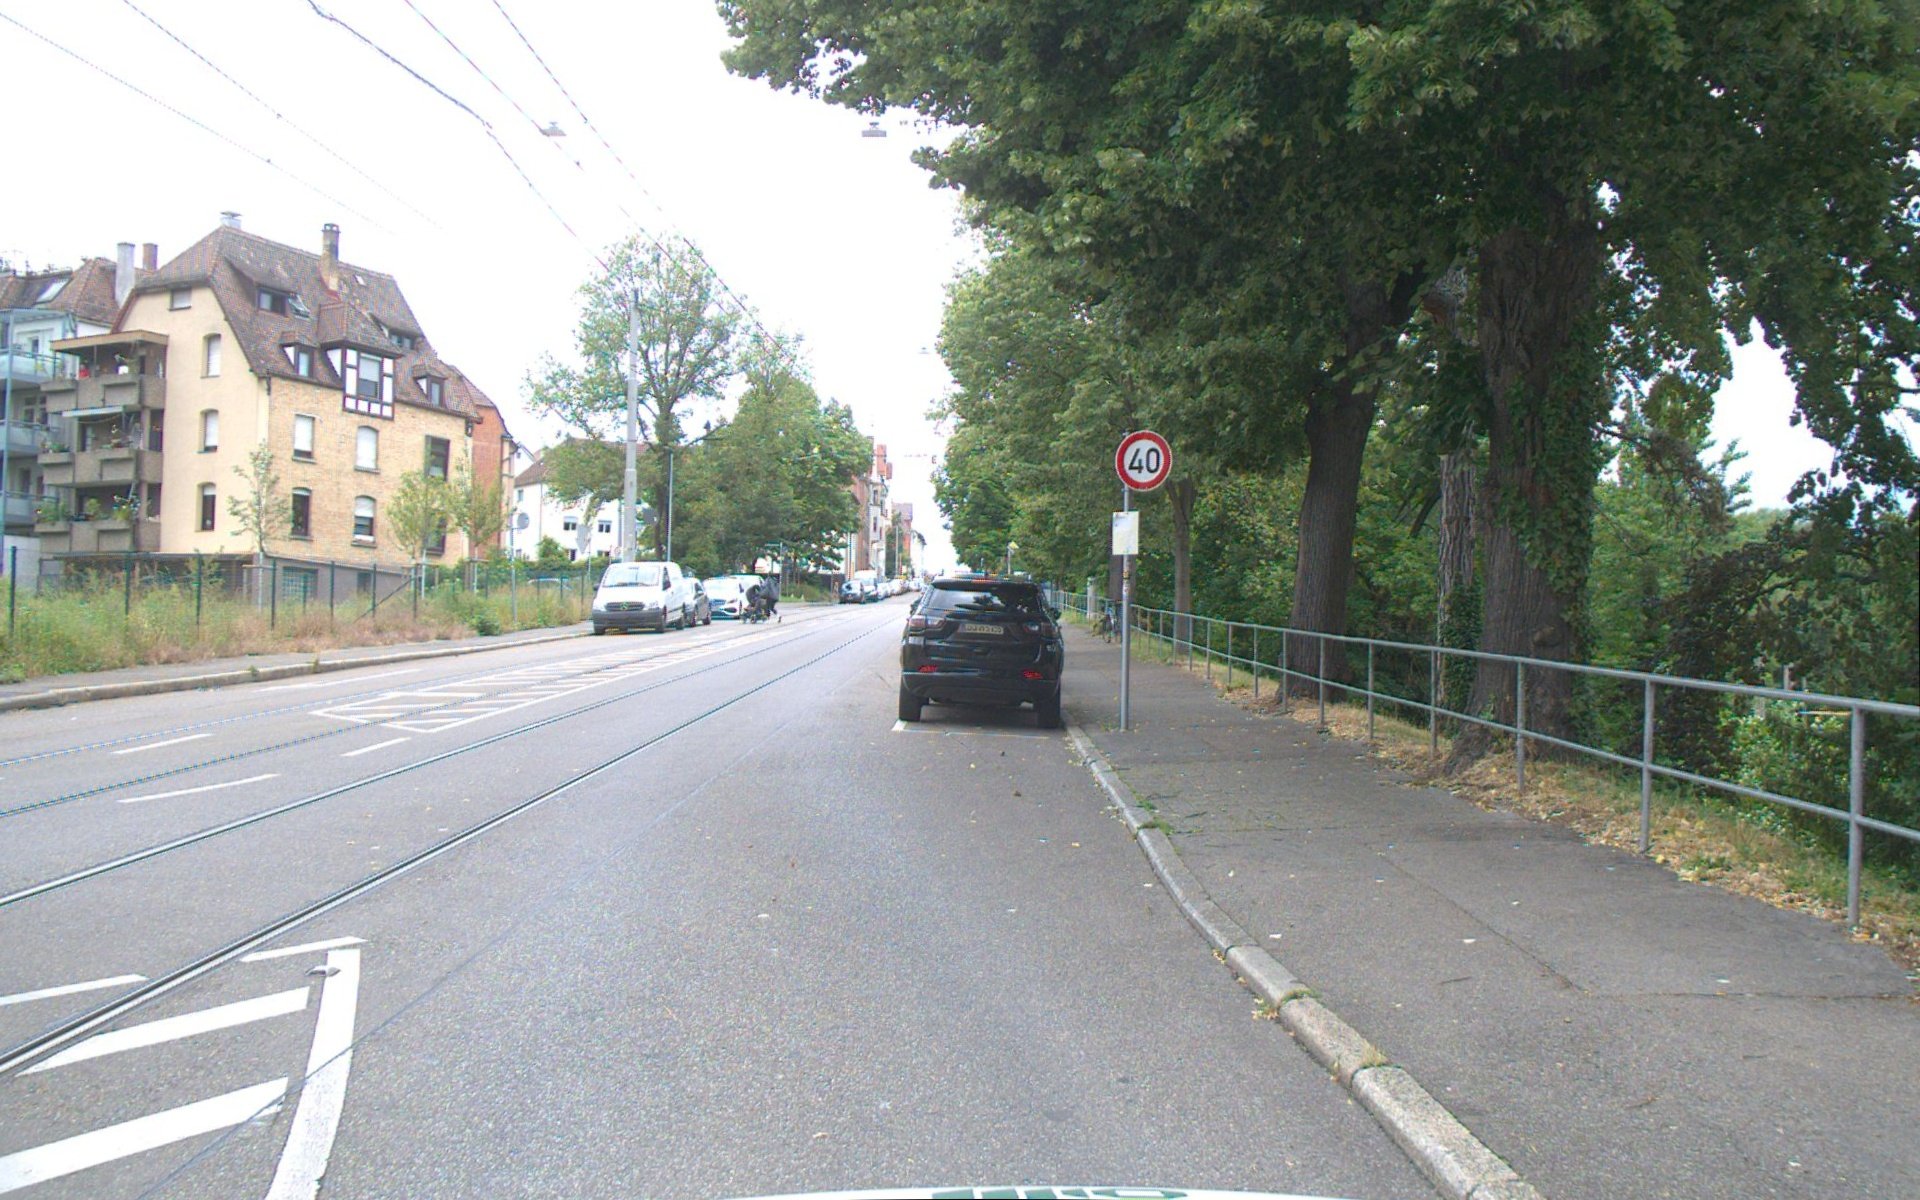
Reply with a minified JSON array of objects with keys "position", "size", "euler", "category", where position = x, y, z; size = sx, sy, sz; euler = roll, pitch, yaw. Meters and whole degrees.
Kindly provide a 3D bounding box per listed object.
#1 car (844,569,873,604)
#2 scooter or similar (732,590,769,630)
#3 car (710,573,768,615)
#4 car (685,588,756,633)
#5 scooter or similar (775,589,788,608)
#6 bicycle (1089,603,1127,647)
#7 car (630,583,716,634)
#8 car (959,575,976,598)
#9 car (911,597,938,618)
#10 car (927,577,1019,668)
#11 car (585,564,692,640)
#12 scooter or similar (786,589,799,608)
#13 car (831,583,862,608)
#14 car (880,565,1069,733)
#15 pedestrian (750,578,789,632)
[{"position":[-8.562,-1.143,139.828],"size":[2.186,2.812,5.797],"euler":[2,0,-2],"category":"car"},{"position":[-6.637,0.324,52.371],"size":[0.823,1.217,0.804],"euler":[1,-1,37],"category":"scooter or similar"},{"position":[-8.646,-0.248,64.868],"size":[1.688,1.607,4.181],"euler":[0,0,0],"category":"car"},{"position":[-8.500,0.354,59.073],"size":[1.846,1.552,4.663],"euler":[0,0,0],"category":"car"},{"position":[-12.996,-0.124,120.409],"size":[0.676,1.362,1.639],"euler":[2,0,1],"category":"scooter or similar"},{"position":[3.430,0.562,38.420],"size":[0.419,0.993,1.791],"euler":[2,0,-9],"category":"bicycle"},{"position":[-8.734,0.232,50.675],"size":[1.857,1.457,4.511],"euler":[0,1,0],"category":"car"},{"position":[0.848,-1.593,193.030],"size":[1.952,2.619,4.705],"euler":[1,0,1],"category":"car"},{"position":[-2.661,0.557,124.396],"size":[1.953,1.525,4.312],"euler":[2,0,0],"category":"car"},{"position":[0.221,0.428,34.849],"size":[1.692,1.659,4.087],"euler":[5,1,-1],"category":"car"},{"position":[-8.671,0.056,45.013],"size":[1.994,1.914,4.884],"euler":[-1,0,-1],"category":"car"},{"position":[-12.196,-0.097,120.500],"size":[0.676,1.362,1.639],"euler":[2,0,1],"category":"scooter or similar"},{"position":[-8.562,-0.308,125.232],"size":[1.952,1.840,4.001],"euler":[2,0,1],"category":"car"},{"position":[0.210,0.482,19.183],"size":[1.865,1.643,4.601],"euler":[2,0,1],"category":"car"},{"position":[-5.975,0.156,51.875],"size":[0.898,1.657,0.804],"euler":[1,-1,37],"category":"pedestrian"}]
